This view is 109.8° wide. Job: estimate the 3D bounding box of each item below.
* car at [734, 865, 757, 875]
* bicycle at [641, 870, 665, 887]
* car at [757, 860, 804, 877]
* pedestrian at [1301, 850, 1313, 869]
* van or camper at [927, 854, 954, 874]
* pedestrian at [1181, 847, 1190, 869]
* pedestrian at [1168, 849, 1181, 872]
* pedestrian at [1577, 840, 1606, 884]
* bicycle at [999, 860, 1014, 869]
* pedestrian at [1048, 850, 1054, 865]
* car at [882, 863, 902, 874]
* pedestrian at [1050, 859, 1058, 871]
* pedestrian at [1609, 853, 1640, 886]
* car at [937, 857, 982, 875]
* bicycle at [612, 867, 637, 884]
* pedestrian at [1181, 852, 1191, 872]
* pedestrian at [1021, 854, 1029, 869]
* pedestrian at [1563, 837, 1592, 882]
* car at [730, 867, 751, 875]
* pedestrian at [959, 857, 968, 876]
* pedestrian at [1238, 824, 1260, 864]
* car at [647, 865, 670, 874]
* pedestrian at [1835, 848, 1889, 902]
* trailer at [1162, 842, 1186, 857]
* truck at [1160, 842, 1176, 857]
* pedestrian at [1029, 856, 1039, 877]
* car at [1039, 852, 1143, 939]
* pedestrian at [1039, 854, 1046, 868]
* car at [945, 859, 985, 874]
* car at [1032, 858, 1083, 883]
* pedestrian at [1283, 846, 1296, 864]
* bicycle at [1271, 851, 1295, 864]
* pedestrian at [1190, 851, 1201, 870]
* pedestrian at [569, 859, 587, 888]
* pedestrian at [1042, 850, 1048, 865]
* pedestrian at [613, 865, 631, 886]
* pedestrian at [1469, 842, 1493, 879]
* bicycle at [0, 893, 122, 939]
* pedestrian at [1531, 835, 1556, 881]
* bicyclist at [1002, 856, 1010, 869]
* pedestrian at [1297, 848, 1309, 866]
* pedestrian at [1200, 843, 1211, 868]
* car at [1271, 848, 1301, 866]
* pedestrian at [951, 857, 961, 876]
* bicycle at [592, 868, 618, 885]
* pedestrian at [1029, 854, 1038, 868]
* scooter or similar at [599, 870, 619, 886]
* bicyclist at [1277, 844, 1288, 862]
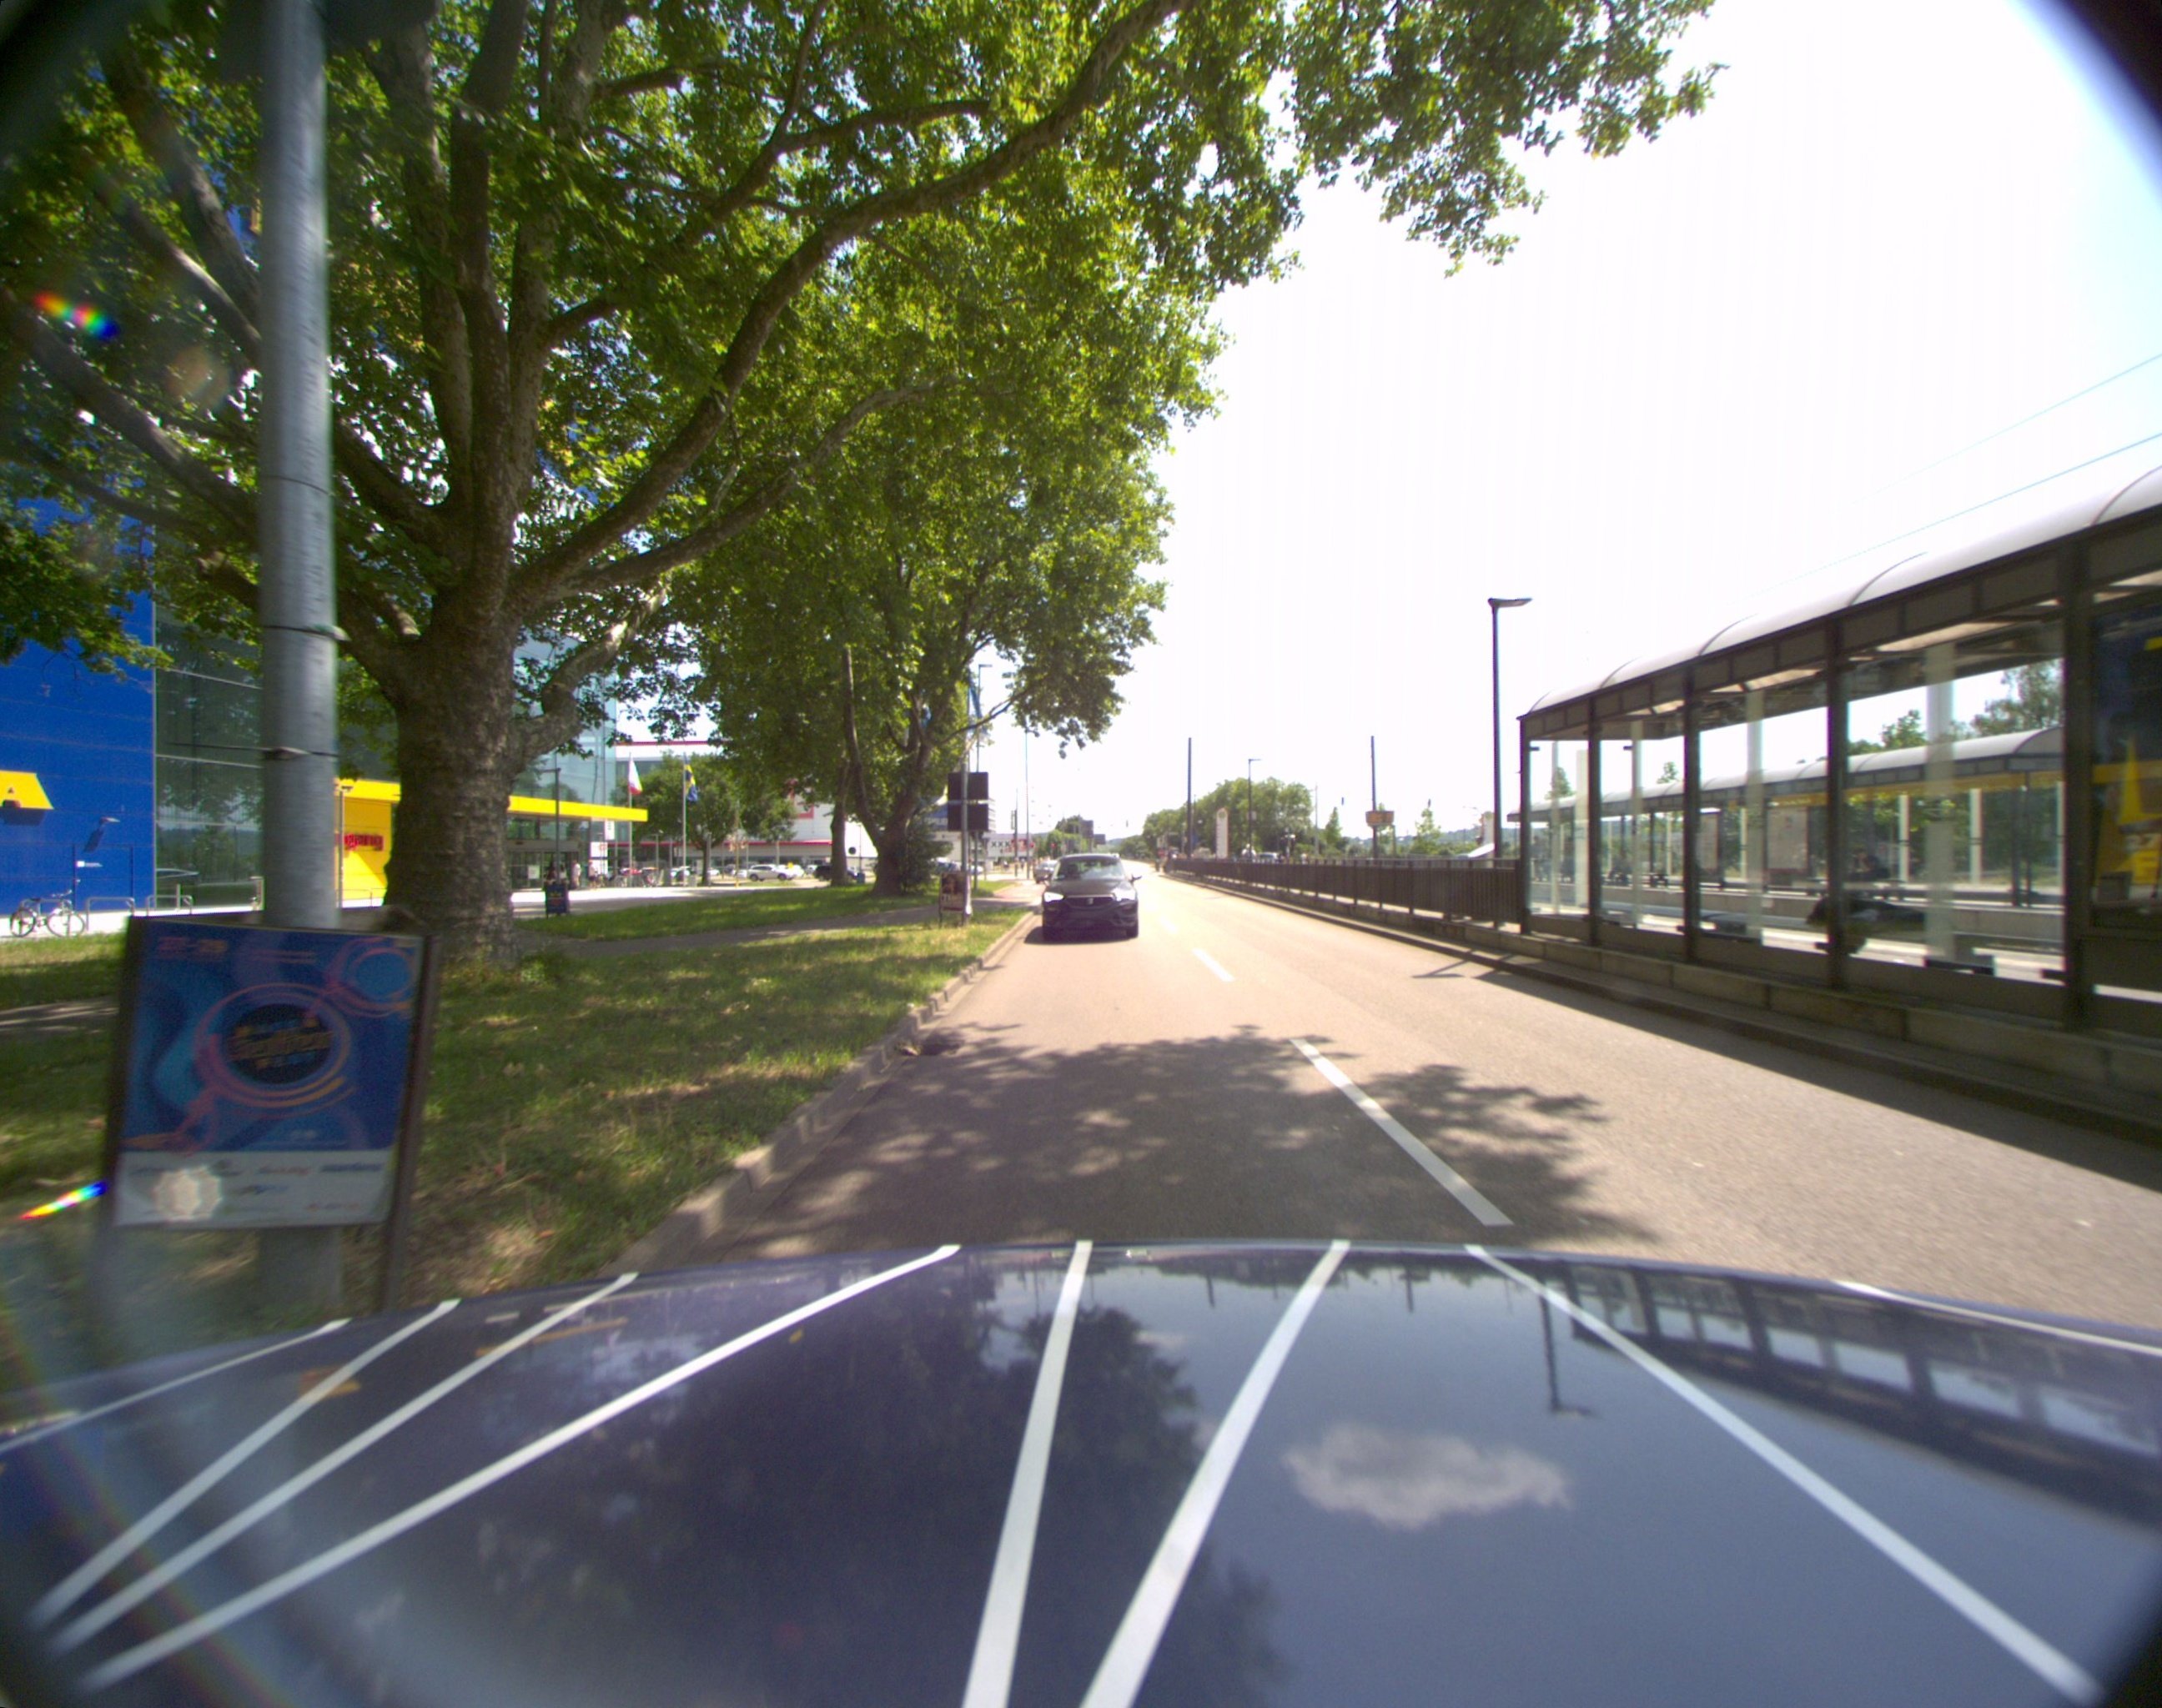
[{"bbox_3d":[-52.426,2.491,118.824,1.853,1.537,3.999,-1,0,-2],"label":"car"},{"bbox_3d":[-30.976,1.744,55.007,0.803,1.138,2.431,-1,0,-12],"label":"bicycle"},{"bbox_3d":[-30.796,1.510,77.934,4.079,1.630,2.000,-1,0,-1],"label":"car"},{"bbox_3d":[19.282,0.463,64.911,0.763,1.662,0.764,-1,0,-1],"label":"pedestrian"},{"bbox_3d":[-22.369,1.609,121.022,2.716,2.929,7.612,-2,0,0],"label":"van or camper"},{"bbox_3d":[7.445,0.261,54.177,0.498,1.568,0.557,-1,0,0],"label":"pedestrian"},{"bbox_3d":[7.509,0.487,60.864,0.865,1.791,0.883,-2,0,-2],"label":"pedestrian"},{"bbox_3d":[17.973,0.264,26.745,0.578,1.524,0.639,-1,0,2],"label":"pedestrian"},{"bbox_3d":[-9.896,1.373,101.141,1.874,1.155,0.833,-1,0,29],"label":"bicycle"},{"bbox_3d":[-3.200,0.362,80.911,0.528,1.656,0.640,-2,1,6],"label":"pedestrian"},{"bbox_3d":[-33.312,2.551,133.914,1.998,1.707,4.504,-2,0,4],"label":"car"},{"bbox_3d":[-3.361,1.323,93.287,0.592,1.467,0.804,-1,0,-41],"label":"pedestrian"},{"bbox_3d":[17.779,0.502,24.870,0.578,1.088,0.639,-1,0,2],"label":"pedestrian"},{"bbox_3d":[-11.890,1.197,74.391,3.996,1.546,2.001,-2,-2,2],"label":"car"},{"bbox_3d":[-33.537,1.562,55.826,0.803,1.192,2.430,0,0,-12],"label":"bicycle"},{"bbox_3d":[8.748,0.655,63.491,0.734,1.663,0.678,-1,1,-2],"label":"pedestrian"},{"bbox_3d":[-7.194,0.959,98.034,0.805,1.854,0.798,-2,1,6],"label":"pedestrian"},{"bbox_3d":[17.987,0.203,27.515,0.826,1.629,0.579,-1,0,39],"label":"pedestrian"},{"bbox_3d":[-60.294,3.018,134.651,1.693,1.302,4.001,-2,0,3],"label":"car"},{"bbox_3d":[-10.229,1.112,66.137,0.607,1.628,0.864,-1,1,5],"label":"pedestrian"},{"bbox_3d":[7.070,-0.426,32.077,0.734,1.656,0.742,-1,0,1],"label":"pedestrian"},{"bbox_3d":[-75.637,2.823,136.003,1.693,1.518,4.001,-2,0,3],"label":"car"},{"bbox_3d":[17.732,0.474,17.262,0.578,1.183,0.639,-1,0,2],"label":"pedestrian"},{"bbox_3d":[25.417,-1.248,207.708,3.124,3.848,15.474,-1,0,-6],"label":"trailer"},{"bbox_3d":[24.771,-1.260,216.136,3.135,4.015,7.472,-2,0,-5],"label":"truck"},{"bbox_3d":[-3.973,1.045,64.119,0.725,1.673,0.625,-2,1,-2],"label":"pedestrian"},{"bbox_3d":[0.081,0.779,16.333,1.820,1.583,3.998,-2,0,-5],"label":"car"},{"bbox_3d":[-4.645,0.895,91.791,0.784,1.663,0.946,-1,1,-7],"label":"pedestrian"},{"bbox_3d":[-11.854,1.266,77.711,3.834,1.389,1.803,-1,0,-1],"label":"car"},{"bbox_3d":[-1.531,1.009,47.331,1.734,1.410,4.314,-3,1,-22],"label":"car"},{"bbox_3d":[18.414,0.069,67.167,0.959,1.600,0.764,-1,0,-1],"label":"pedestrian"},{"bbox_3d":[18.179,0.279,68.451,1.979,1.094,0.763,-2,0,-14],"label":"bicycle"},{"bbox_3d":[8.064,0.457,53.314,0.615,1.337,0.720,-2,1,0],"label":"pedestrian"},{"bbox_3d":[-29.520,1.152,44.589,0.606,1.662,0.587,-2,1,15],"label":"pedestrian"},{"bbox_3d":[-3.842,0.388,80.854,0.528,1.570,0.612,-2,1,6],"label":"pedestrian"},{"bbox_3d":[-35.467,1.685,58.699,0.920,1.577,0.633,-1,0,-4],"label":"pedestrian"},{"bbox_3d":[18.032,0.282,34.252,0.558,1.628,0.806,-1,0,-6],"label":"pedestrian"},{"bbox_3d":[-23.755,1.430,17.533,2.065,0.963,0.868,-1,0,-2],"label":"bicycle"},{"bbox_3d":[17.631,0.160,28.968,0.736,1.719,0.579,-1,0,39],"label":"pedestrian"},{"bbox_3d":[-9.978,1.078,101.173,0.797,1.691,0.818,0,1,29],"label":"bicyclist"},{"bbox_3d":[19.309,0.286,66.111,0.763,1.539,0.764,-1,0,-1],"label":"pedestrian"},{"bbox_3d":[8.777,0.101,53.472,0.615,1.671,0.720,-2,1,0],"label":"pedestrian"},{"bbox_3d":[20.627,0.269,76.589,1.998,1.619,4.000,-3,1,3],"label":"car"},{"bbox_3d":[-10.887,1.116,66.179,0.603,1.628,0.864,-1,1,5],"label":"pedestrian"},{"bbox_3d":[-34.674,1.628,55.403,0.803,1.192,2.431,-1,0,-12],"label":"bicycle"},{"bbox_3d":[-6.144,0.918,98.092,0.807,1.749,0.795,-2,1,-35],"label":"pedestrian"},{"bbox_3d":[-36.482,1.820,58.726,1.076,1.191,0.728,-2,0,0],"label":"scooter or similar"},{"bbox_3d":[18.174,-0.113,68.426,0.666,1.605,0.732,-2,1,-14],"label":"bicyclist"}]
